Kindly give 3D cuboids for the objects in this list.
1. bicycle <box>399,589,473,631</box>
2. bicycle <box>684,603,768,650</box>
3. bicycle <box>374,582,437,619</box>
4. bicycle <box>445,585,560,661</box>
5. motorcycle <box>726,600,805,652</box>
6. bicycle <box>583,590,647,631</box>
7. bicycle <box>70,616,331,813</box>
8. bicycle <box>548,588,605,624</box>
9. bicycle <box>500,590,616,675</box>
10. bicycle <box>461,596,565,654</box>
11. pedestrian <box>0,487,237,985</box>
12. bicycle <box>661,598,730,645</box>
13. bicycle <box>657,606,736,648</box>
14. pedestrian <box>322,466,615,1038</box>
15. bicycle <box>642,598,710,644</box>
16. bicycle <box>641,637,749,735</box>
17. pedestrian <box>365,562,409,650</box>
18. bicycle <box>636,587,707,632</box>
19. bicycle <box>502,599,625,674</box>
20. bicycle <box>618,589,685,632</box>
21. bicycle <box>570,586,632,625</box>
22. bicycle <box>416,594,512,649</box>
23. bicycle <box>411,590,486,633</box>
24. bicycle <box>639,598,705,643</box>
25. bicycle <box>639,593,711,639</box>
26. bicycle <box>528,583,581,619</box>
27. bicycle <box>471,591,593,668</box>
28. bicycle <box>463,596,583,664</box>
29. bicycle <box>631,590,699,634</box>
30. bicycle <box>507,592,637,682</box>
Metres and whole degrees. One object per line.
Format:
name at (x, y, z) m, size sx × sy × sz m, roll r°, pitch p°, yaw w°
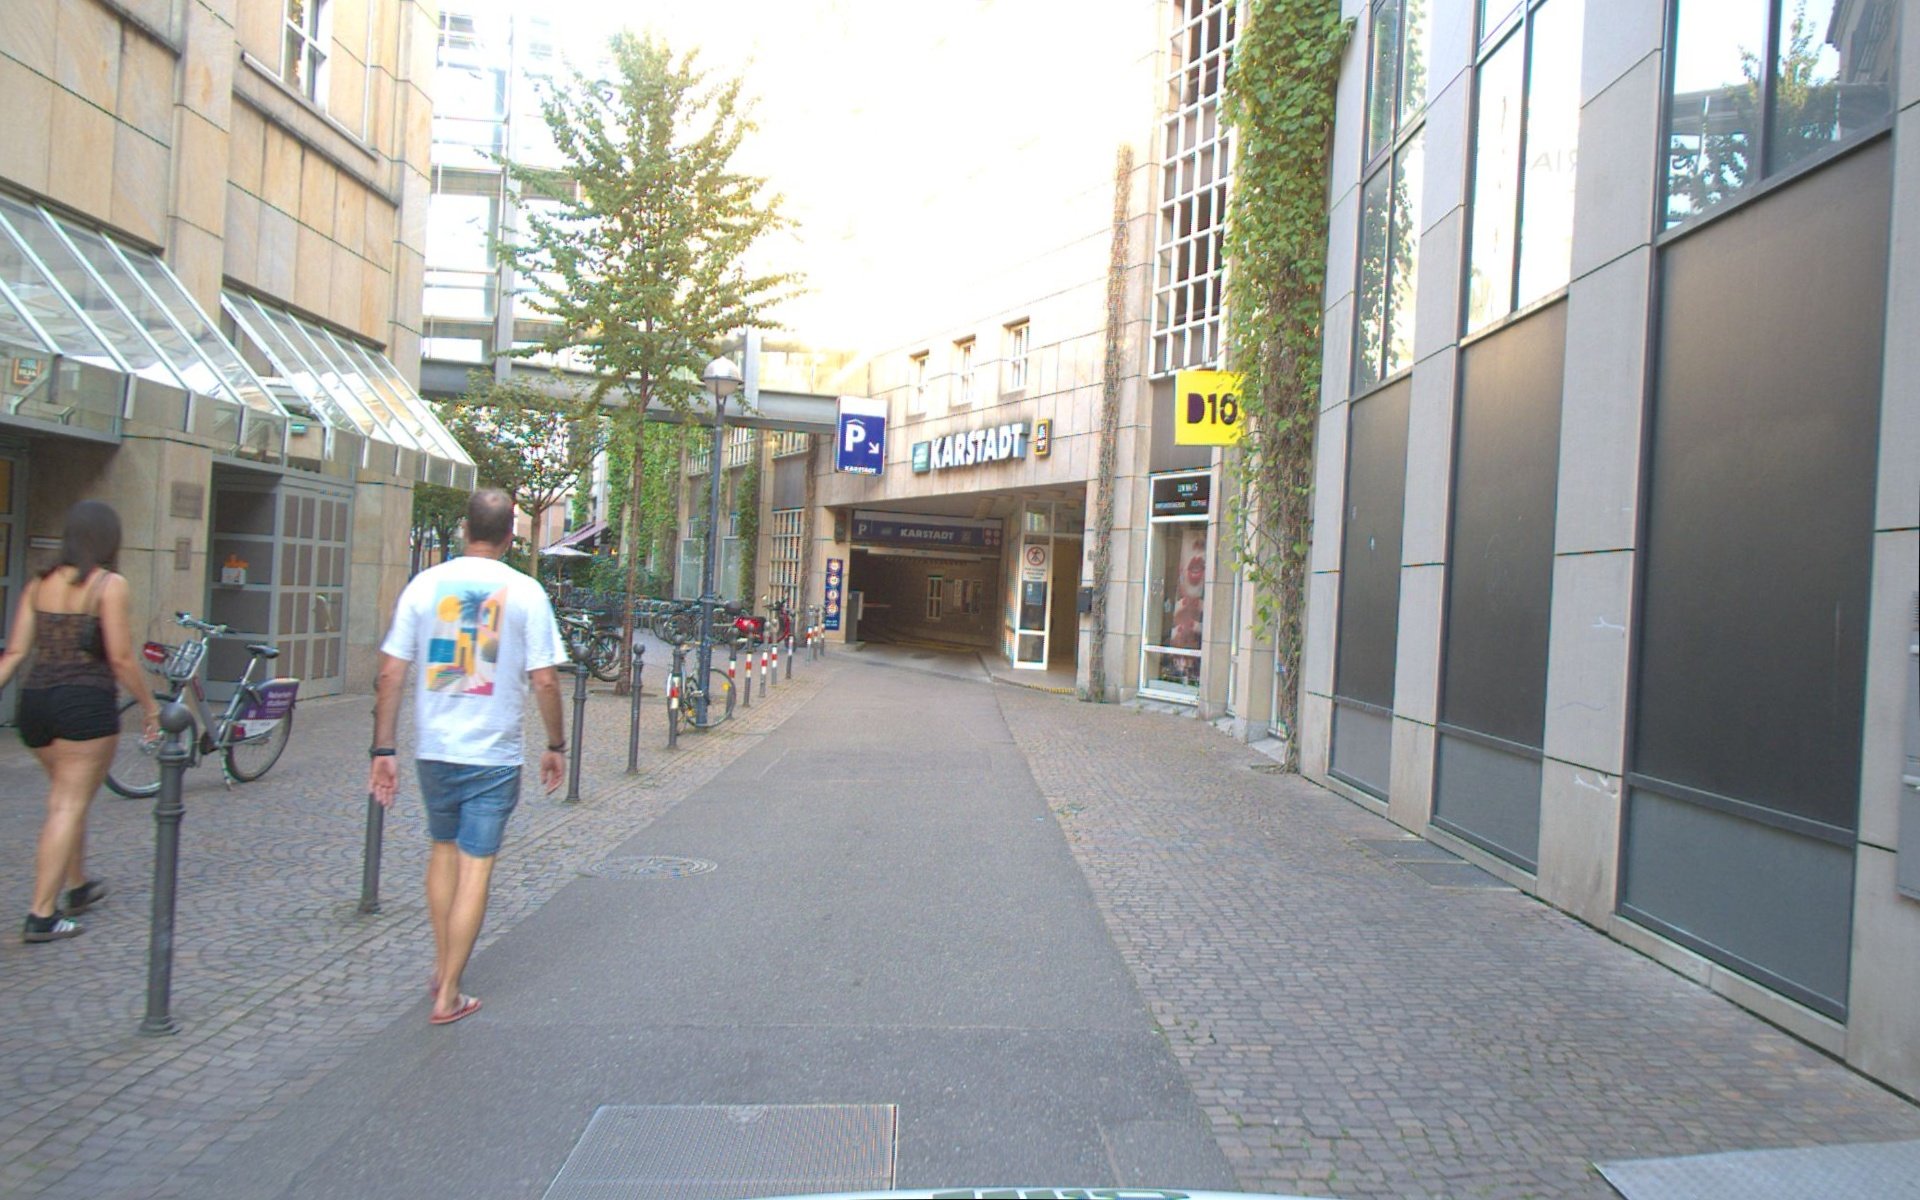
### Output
bicycle at (-13.652, 0.265, 43.089) m, size 1.756 × 1.037 × 0.477 m, roll 2°, pitch 0°, yaw -24°
bicycle at (-5.364, 0.608, 37.862) m, size 1.822 × 0.999 × 0.460 m, roll 2°, pitch 0°, yaw -22°
bicycle at (-17.908, 0.019, 53.441) m, size 1.879 × 1.131 × 0.477 m, roll 2°, pitch 0°, yaw -24°
bicycle at (-7.829, 0.397, 28.330) m, size 1.809 × 1.246 × 0.530 m, roll 2°, pitch 0°, yaw -24°
motorcycle at (-4.278, 0.572, 36.341) m, size 1.639 × 1.069 × 0.460 m, roll 2°, pitch 0°, yaw -22°
bicycle at (-10.137, 0.297, 48.632) m, size 1.748 × 1.134 × 0.539 m, roll 2°, pitch 0°, yaw -22°
bicycle at (-4.910, 0.695, 10.832) m, size 0.510 × 1.157 × 1.766 m, roll 2°, pitch 0°, yaw 15°
bicycle at (-12.600, 0.196, 54.335) m, size 1.746 × 1.134 × 0.540 m, roll 2°, pitch 0°, yaw -19°
bicycle at (-6.178, 0.502, 25.411) m, size 1.632 × 1.252 × 0.530 m, roll 2°, pitch 0°, yaw -24°
bicycle at (-8.668, 0.485, 32.089) m, size 1.852 × 1.061 × 0.530 m, roll 2°, pitch 0°, yaw -24°
pedestrian at (-3.561, 0.491, 6.626) m, size 0.768 × 1.826 × 0.973 m, roll 2°, pitch 0°, yaw 6°
bicycle at (-6.331, 0.517, 39.635) m, size 1.518 × 1.067 × 0.572 m, roll 2°, pitch 0°, yaw -22°
bicycle at (-6.169, 0.641, 38.689) m, size 1.748 × 0.919 × 0.460 m, roll 2°, pitch 0°, yaw -22°
pedestrian at (-1.708, 0.500, 5.887) m, size 0.727 × 1.854 × 0.878 m, roll 2°, pitch 0°, yaw -2°
bicycle at (-6.975, 0.509, 40.593) m, size 1.518 × 1.067 × 0.572 m, roll 2°, pitch 0°, yaw -22°
bicycle at (-2.815, 0.895, 17.729) m, size 0.482 × 0.955 × 1.660 m, roll 4°, pitch 0°, yaw 13°
pedestrian at (-10.698, 0.111, 30.888) m, size 0.688 × 1.610 × 0.714 m, roll 2°, pitch 0°, yaw -24°
bicycle at (-7.717, 0.259, 44.216) m, size 1.748 × 1.134 × 0.539 m, roll 3°, pitch 0°, yaw -22°
bicycle at (-6.283, 0.581, 26.218) m, size 1.812 × 1.142 × 0.530 m, roll 2°, pitch 0°, yaw -24°
bicycle at (-8.662, 0.293, 46.420) m, size 1.748 × 1.134 × 0.539 m, roll 2°, pitch 0°, yaw -22°
bicycle at (-10.949, 0.163, 50.412) m, size 1.748 × 1.134 × 0.539 m, roll 2°, pitch 0°, yaw -22°
bicycle at (-10.127, 0.439, 33.804) m, size 1.800 × 1.061 × 0.530 m, roll 2°, pitch 0°, yaw -24°
bicycle at (-13.067, 0.291, 42.269) m, size 1.756 × 1.037 × 0.477 m, roll 2°, pitch 0°, yaw -24°
bicycle at (-7.312, 0.515, 41.979) m, size 1.518 × 1.067 × 0.572 m, roll 2°, pitch 0°, yaw -22°
bicycle at (-7.435, 0.414, 43.150) m, size 1.748 × 1.134 × 0.539 m, roll 2°, pitch 0°, yaw -22°
bicycle at (-14.572, 0.029, 59.469) m, size 1.748 × 1.211 × 0.582 m, roll 2°, pitch 0°, yaw -22°
bicycle at (-7.019, 0.488, 27.150) m, size 1.847 × 1.198 × 0.530 m, roll 2°, pitch 0°, yaw -24°
bicycle at (-7.307, 0.507, 27.671) m, size 1.869 × 1.070 × 0.530 m, roll 2°, pitch 0°, yaw -24°
bicycle at (-8.103, 0.336, 45.406) m, size 1.748 × 1.134 × 0.539 m, roll 2°, pitch 0°, yaw -22°
bicycle at (-5.638, 0.542, 24.066) m, size 1.743 × 1.252 × 0.530 m, roll 2°, pitch 0°, yaw -24°
